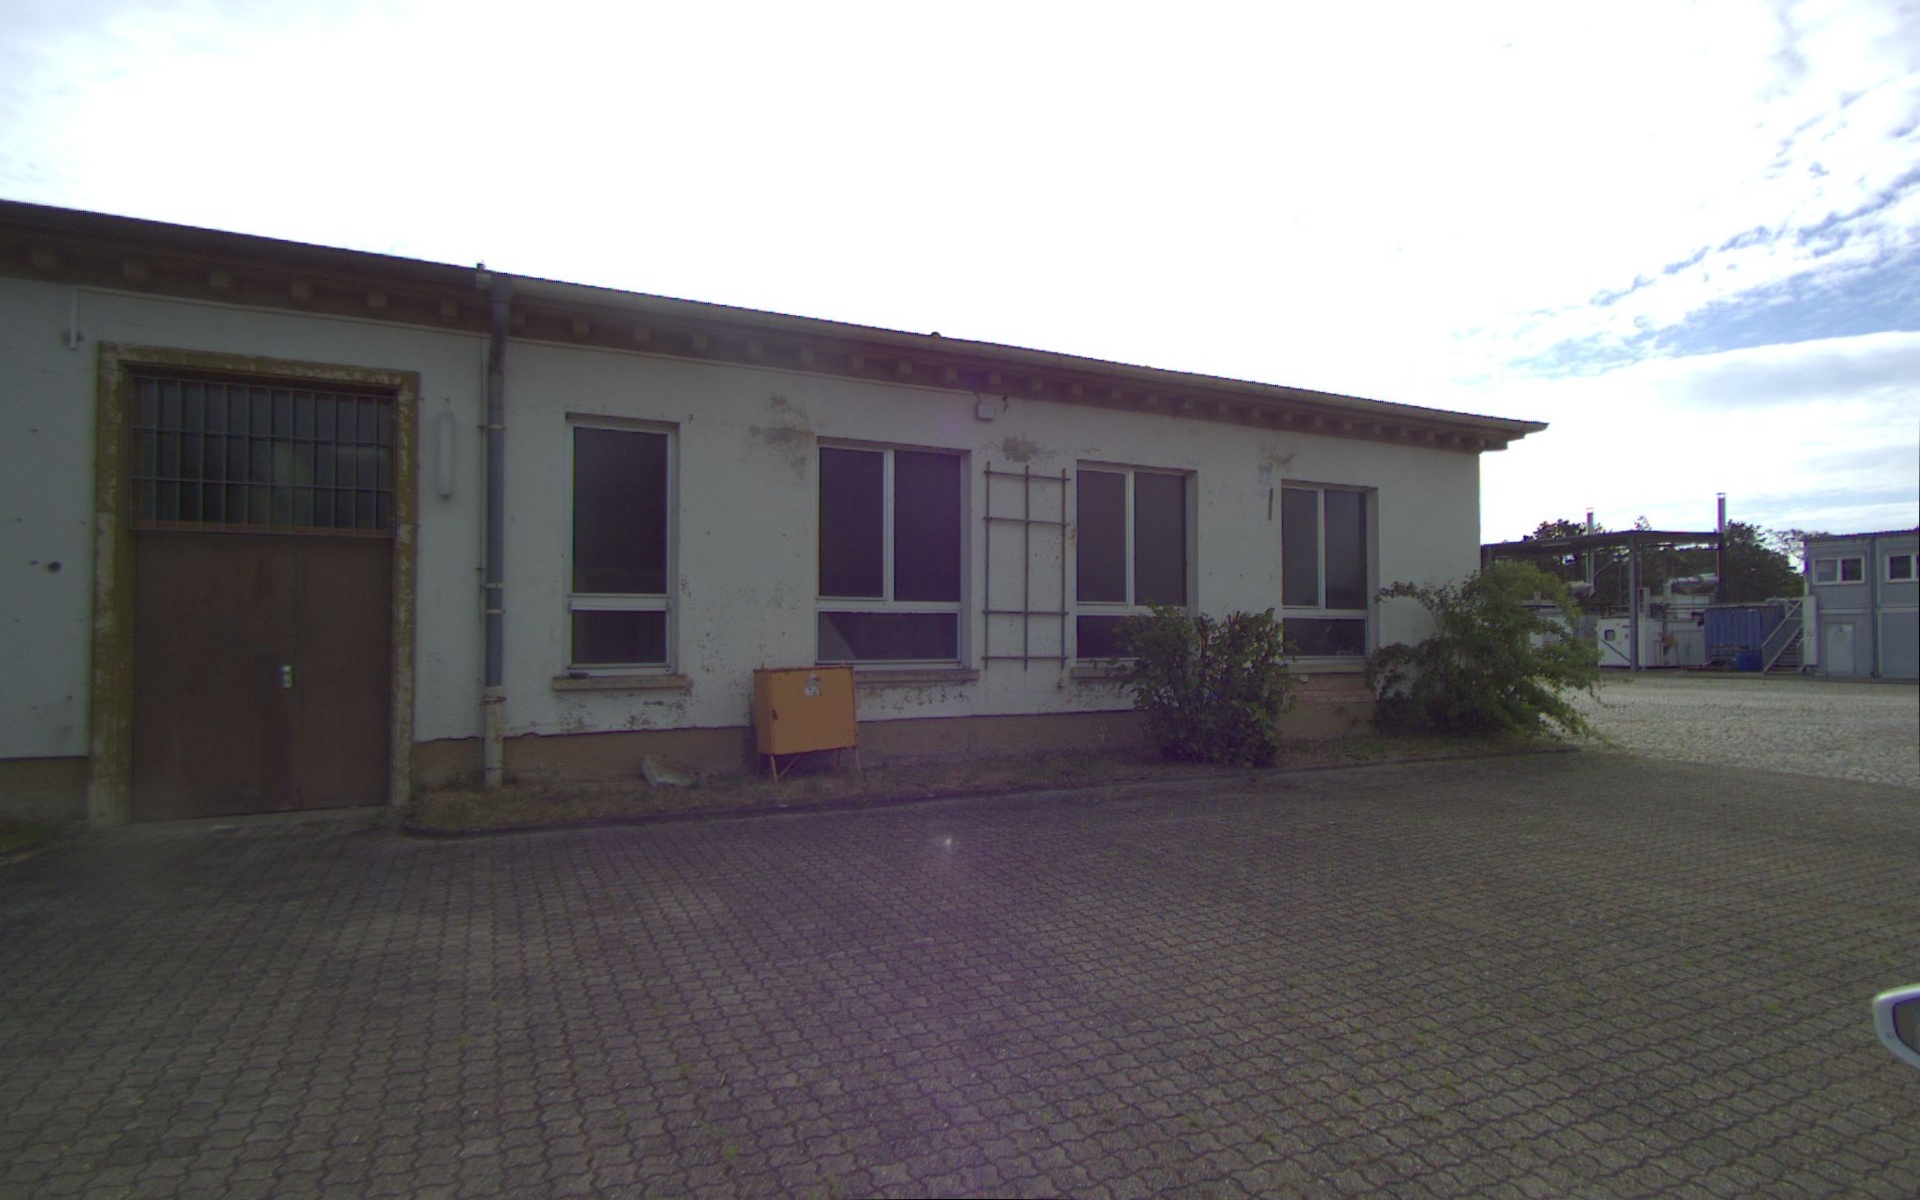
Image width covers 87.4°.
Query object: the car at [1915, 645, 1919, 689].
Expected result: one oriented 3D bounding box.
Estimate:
[{"bbox_3d":[34.335,2.213,33.871,3.995,1.495,1.899,0,-2,-28],"label":"car"}]
